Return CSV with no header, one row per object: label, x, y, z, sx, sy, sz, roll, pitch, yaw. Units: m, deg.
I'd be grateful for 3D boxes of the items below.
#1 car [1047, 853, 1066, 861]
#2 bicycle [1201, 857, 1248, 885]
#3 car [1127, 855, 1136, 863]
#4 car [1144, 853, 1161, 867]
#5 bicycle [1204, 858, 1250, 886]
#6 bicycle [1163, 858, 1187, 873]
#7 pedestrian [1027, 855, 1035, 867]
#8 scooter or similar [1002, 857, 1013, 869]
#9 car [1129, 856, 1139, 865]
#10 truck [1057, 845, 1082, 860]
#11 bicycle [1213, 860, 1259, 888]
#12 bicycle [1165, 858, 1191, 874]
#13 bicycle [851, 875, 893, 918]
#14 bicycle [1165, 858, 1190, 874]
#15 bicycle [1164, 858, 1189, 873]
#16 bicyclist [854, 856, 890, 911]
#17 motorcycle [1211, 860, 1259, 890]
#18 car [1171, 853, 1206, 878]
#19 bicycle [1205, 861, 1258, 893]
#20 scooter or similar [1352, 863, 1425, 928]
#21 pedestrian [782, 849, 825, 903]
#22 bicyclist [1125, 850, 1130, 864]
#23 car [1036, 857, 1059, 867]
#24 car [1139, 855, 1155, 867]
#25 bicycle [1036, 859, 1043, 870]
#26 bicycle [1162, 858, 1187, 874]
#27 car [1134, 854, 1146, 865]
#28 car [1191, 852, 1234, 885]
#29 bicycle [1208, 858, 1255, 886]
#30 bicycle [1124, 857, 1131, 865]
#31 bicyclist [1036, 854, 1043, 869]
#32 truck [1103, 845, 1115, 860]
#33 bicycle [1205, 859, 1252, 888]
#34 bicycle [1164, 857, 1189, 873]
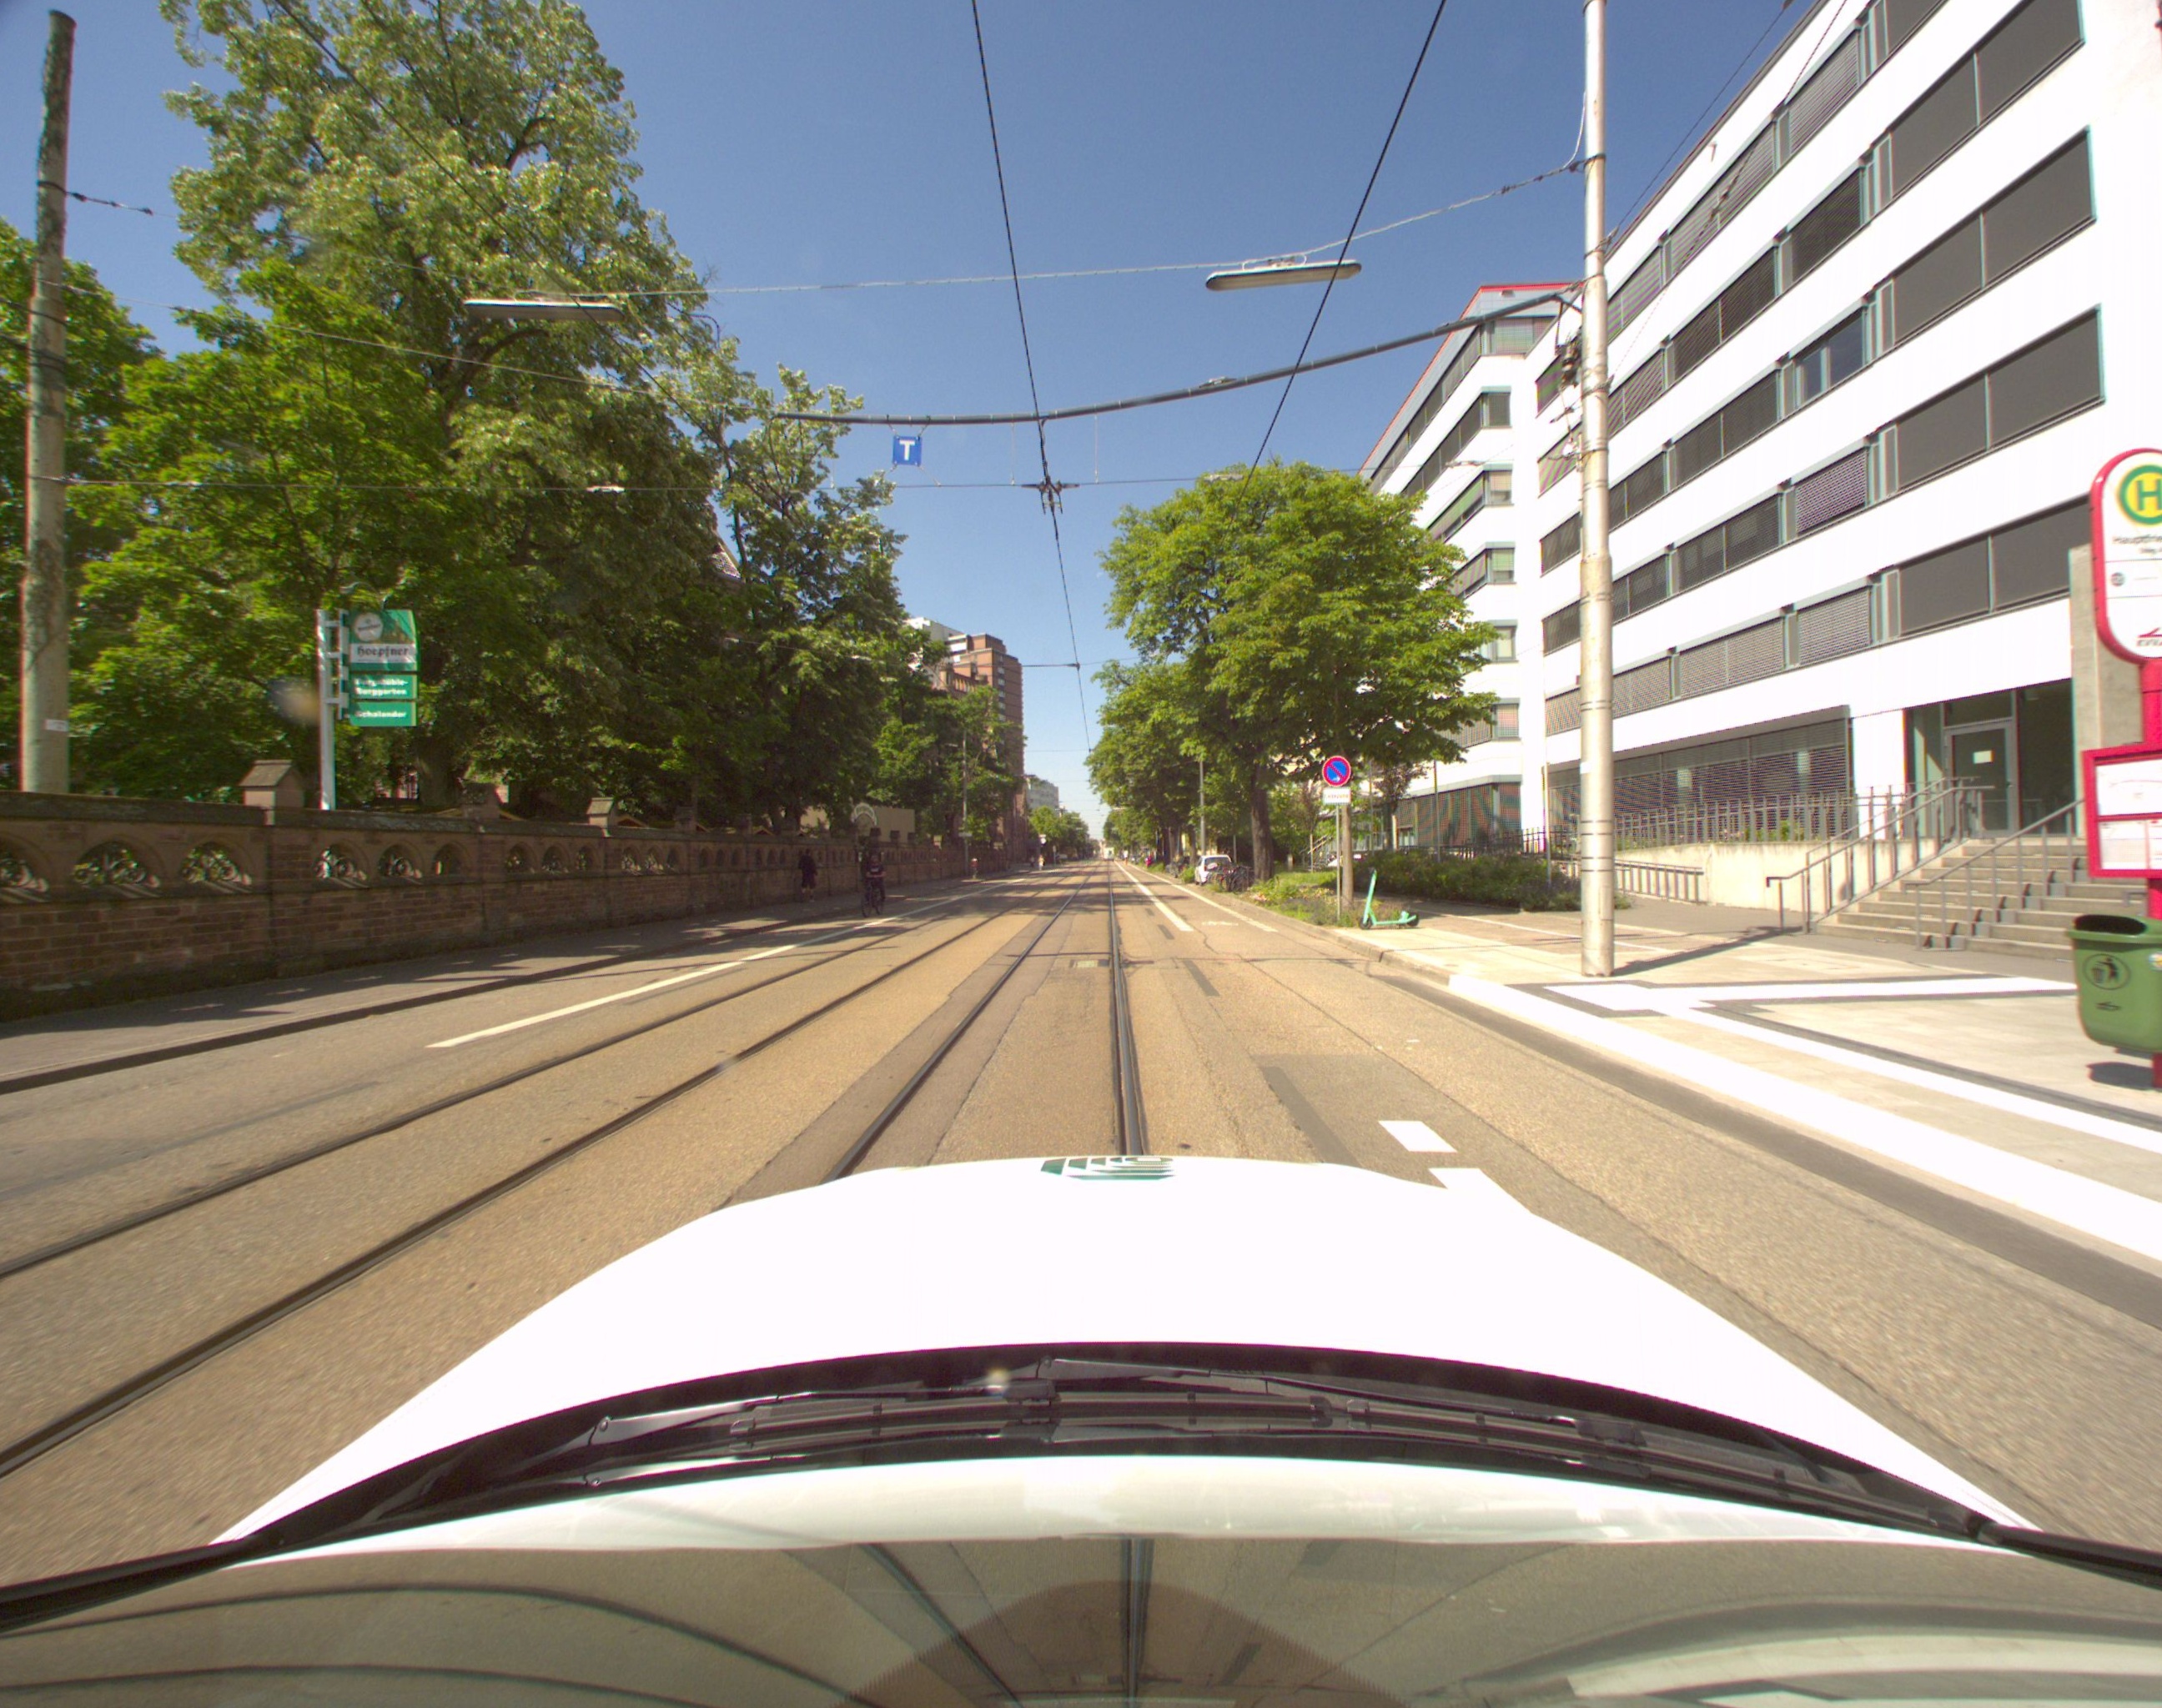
car,-5.700,0.748,191.324,4.011,1.750,1.981,-1,0,-29
bicycle,6.284,0.733,35.634,1.897,1.169,0.819,-2,0,1
car,10.320,0.957,165.639,1.623,1.472,4.115,-2,0,2
car,7.939,0.681,90.594,1.625,1.472,3.719,-1,0,0
bicycle,6.259,0.753,34.987,1.866,1.141,0.686,-2,0,1
bicycle,7.009,0.875,60.739,1.718,1.086,0.478,-2,0,1
pedestrian,-6.657,0.968,108.800,0.882,1.512,1.472,-1,0,-7
scooter or similar,-7.449,0.909,83.064,0.329,1.129,1.194,-2,-1,41
car,9.053,1.095,140.029,1.623,1.472,4.115,-2,0,2
truck,-3.088,-0.349,219.994,2.788,3.859,10.056,-2,0,24
bicycle,6.249,0.801,32.892,1.718,1.086,0.640,-2,0,1
bicycle,6.799,0.818,57.236,1.718,1.086,0.629,-2,0,1
bicycle,-6.016,1.198,23.519,0.589,1.105,2.055,-1,0,2
bicycle,6.863,0.824,57.893,1.718,1.086,0.697,-2,0,1
bicycle,6.843,0.823,58.541,1.718,1.086,0.570,-2,0,1
bicyclist,-6.022,0.831,23.540,0.737,1.531,0.948,-1,0,2
motorcycle,5.960,0.799,31.494,1.718,1.086,0.659,-2,0,1
car,6.756,0.699,51.630,1.624,1.483,4.272,-1,0,0
bicycle,5.401,0.830,29.286,1.718,1.086,0.789,-2,0,1
scooter or similar,5.798,0.781,15.408,1.121,1.166,0.676,-2,0,4
pedestrian,-9.650,0.740,28.337,0.972,1.816,1.185,2,0,2
bicyclist,6.581,0.438,114.340,0.633,1.871,1.024,-2,0,1
car,-6.527,1.473,158.341,4.017,1.810,1.869,-1,0,-36
car,8.156,0.866,100.451,1.625,1.355,3.901,-2,0,0
bicycle,-4.735,1.189,92.668,0.660,1.154,2.015,-1,0,2
bicycle,6.922,0.871,60.247,1.718,1.086,0.615,-2,0,1
car,8.800,0.828,122.135,1.623,1.472,4.115,-1,0,2
car,6.326,0.690,39.442,1.623,1.472,3.633,-1,0,3
bicycle,6.240,0.730,33.779,1.786,1.086,0.726,-2,0,1
bicycle,6.533,0.953,114.162,0.852,1.110,2.140,-1,0,1
bicyclist,-4.706,0.854,92.591,0.722,1.698,1.147,-1,0,1
truck,6.078,-0.306,176.411,2.393,3.108,6.039,-1,0,2
bicycle,6.197,0.813,34.308,1.842,1.132,0.680,-2,0,1
bicycle,6.952,0.812,59.113,1.718,1.086,0.589,-2,0,1
